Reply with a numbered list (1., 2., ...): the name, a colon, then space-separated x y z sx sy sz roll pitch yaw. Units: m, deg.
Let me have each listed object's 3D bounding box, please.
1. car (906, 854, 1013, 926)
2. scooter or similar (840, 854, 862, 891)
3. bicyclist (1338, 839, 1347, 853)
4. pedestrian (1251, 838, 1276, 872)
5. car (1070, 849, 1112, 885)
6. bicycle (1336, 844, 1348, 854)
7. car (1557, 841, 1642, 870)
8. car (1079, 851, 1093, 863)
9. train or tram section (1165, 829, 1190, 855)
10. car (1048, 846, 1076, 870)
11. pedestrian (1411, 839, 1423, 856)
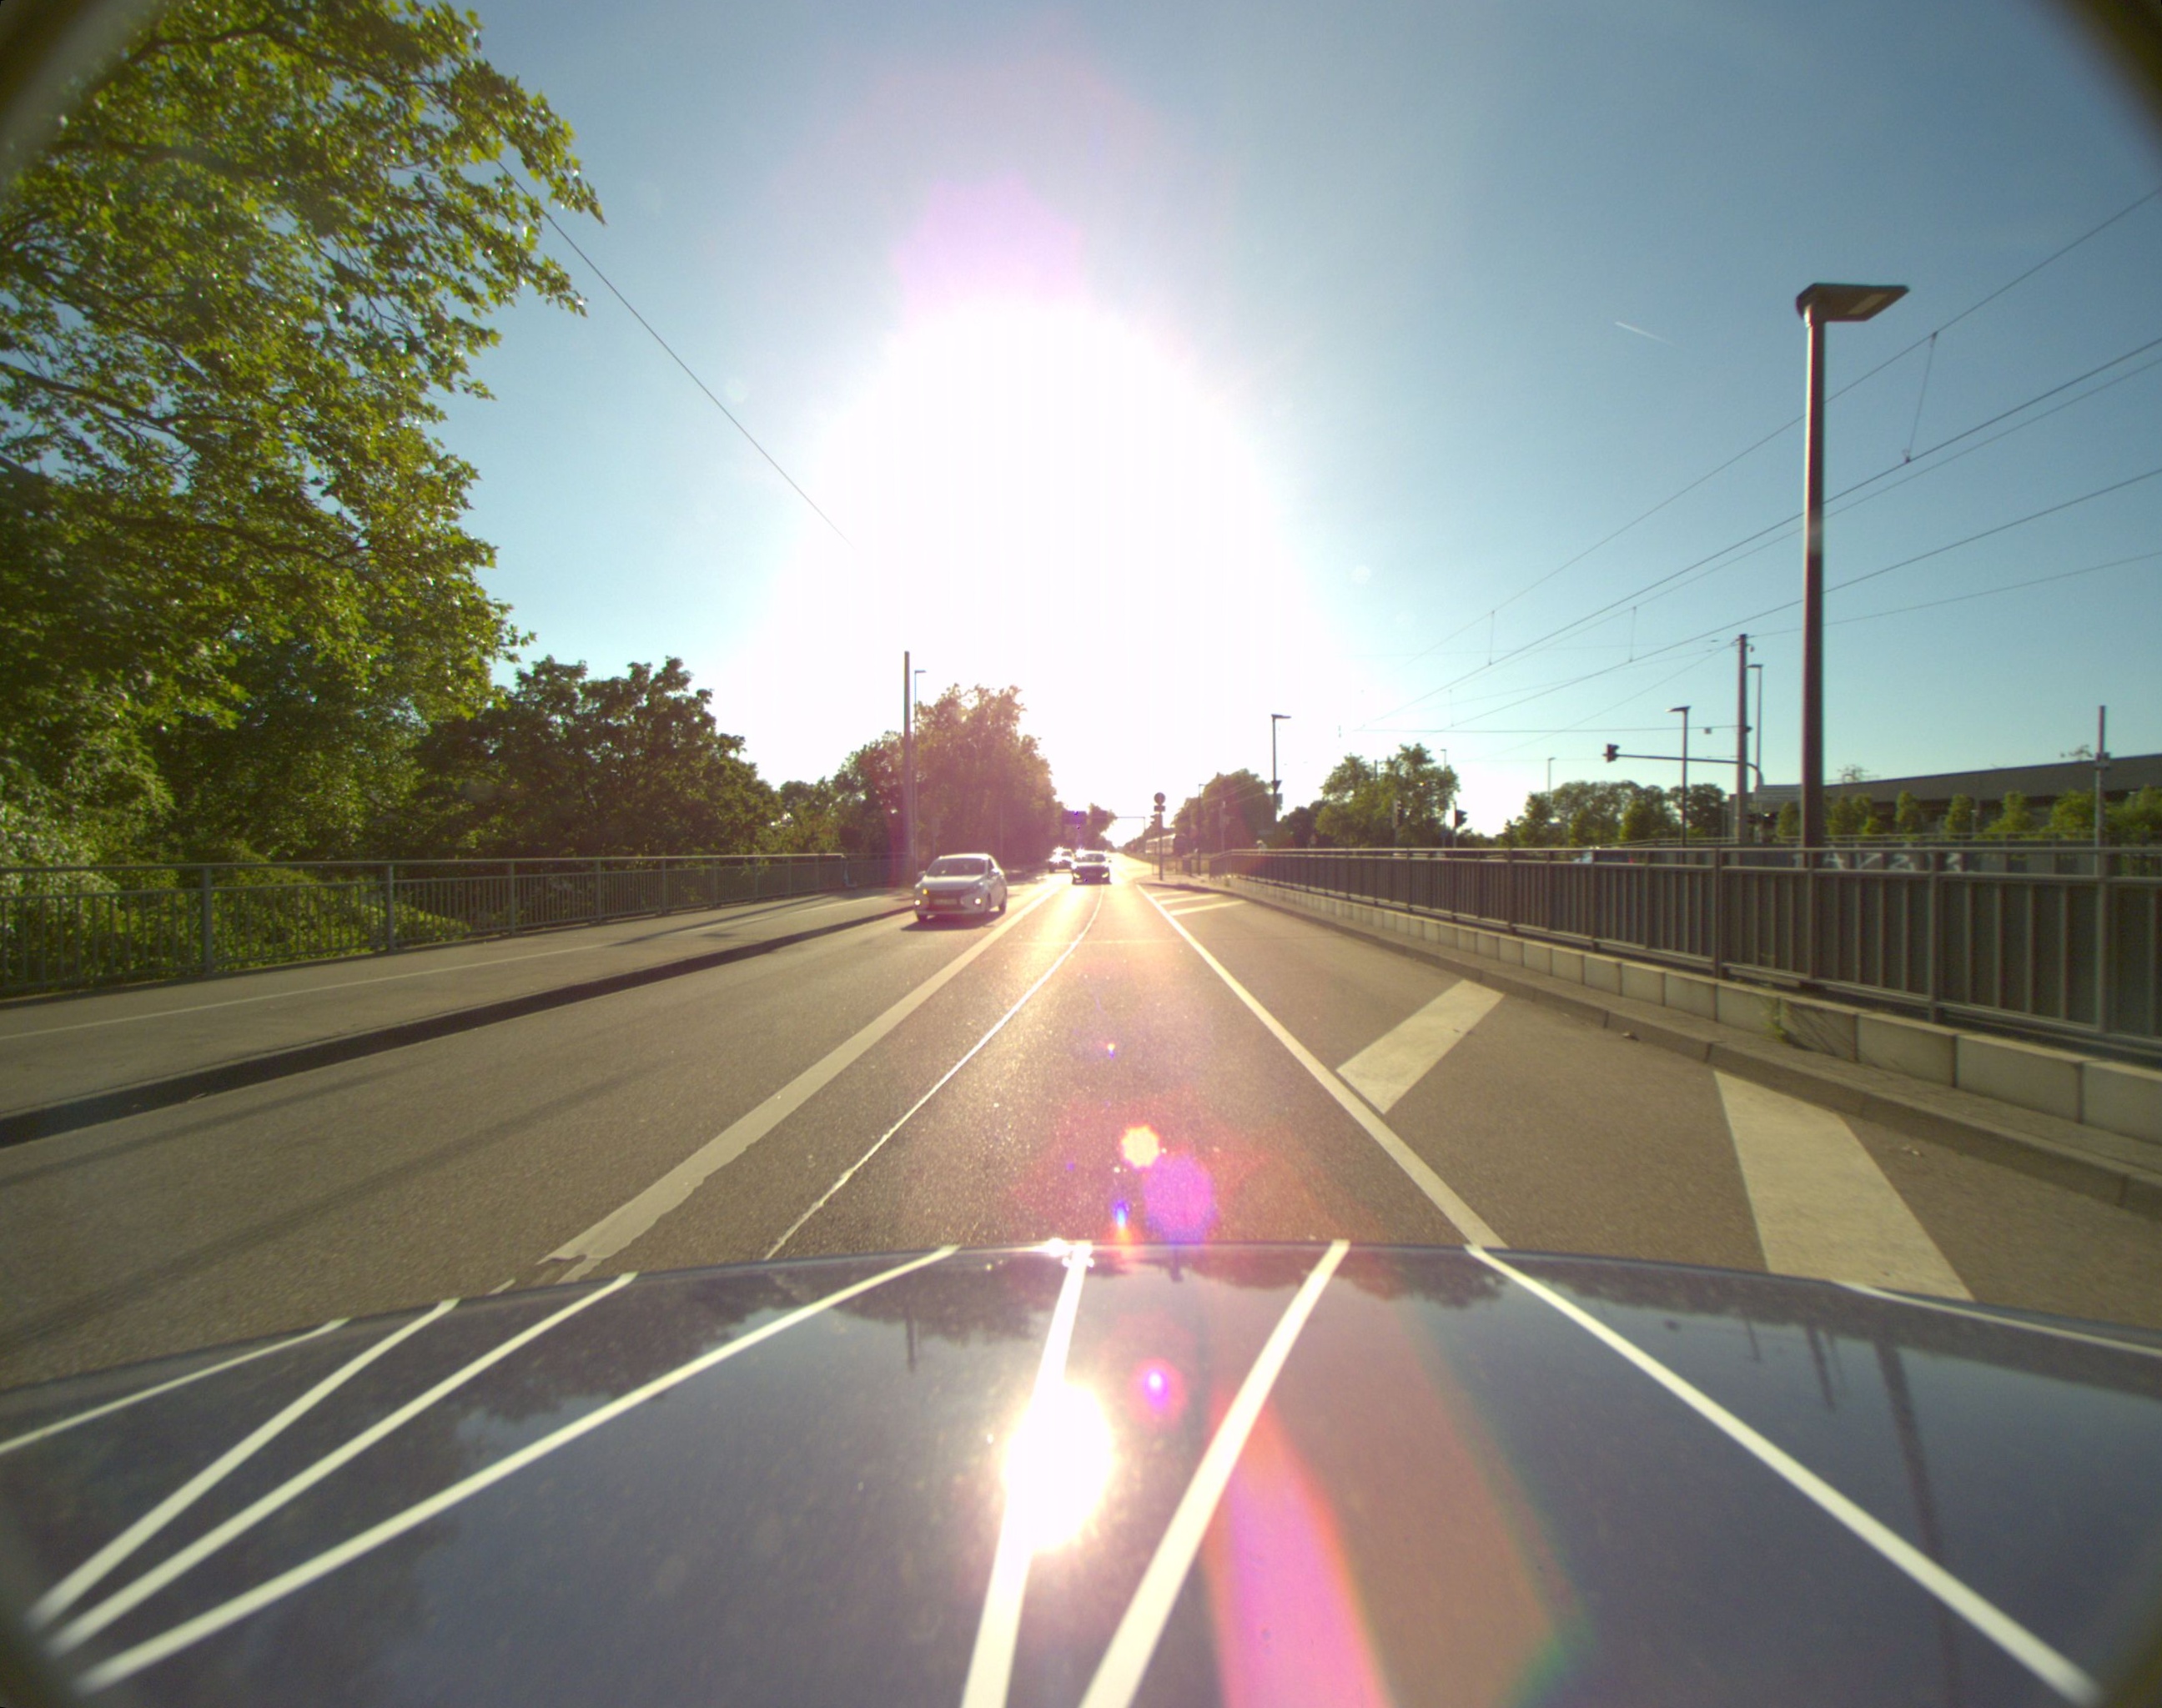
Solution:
1. car: -2.795 0.771 18.279 1.670 1.465 3.745 -1 1 4
2. scooter or similar: -8.312 0.659 27.440 0.427 1.267 1.083 0 1 2
3. bicyclist: 30.983 -0.990 89.935 0.770 1.608 0.835 -1 1 2
4. pedestrian: 9.097 0.040 37.874 0.892 1.635 0.986 -1 1 -9
5. car: 0.516 0.542 34.727 1.786 1.530 4.000 0 1 2
6. bicycle: 30.912 -0.586 89.889 0.632 1.121 2.528 -1 1 2
7. car: 26.682 0.057 39.258 1.736 1.437 4.000 0 1 2
8. car: 0.714 0.419 102.803 1.784 1.586 4.000 -1 1 1
9. train or tram section: 15.705 -1.977 124.493 2.891 3.924 12.112 -1 1 2
10. car: -1.360 0.246 55.909 1.824 1.609 3.999 -1 1 1
11. pedestrian: 31.090 -0.587 70.278 0.722 1.600 0.879 -1 1 2
